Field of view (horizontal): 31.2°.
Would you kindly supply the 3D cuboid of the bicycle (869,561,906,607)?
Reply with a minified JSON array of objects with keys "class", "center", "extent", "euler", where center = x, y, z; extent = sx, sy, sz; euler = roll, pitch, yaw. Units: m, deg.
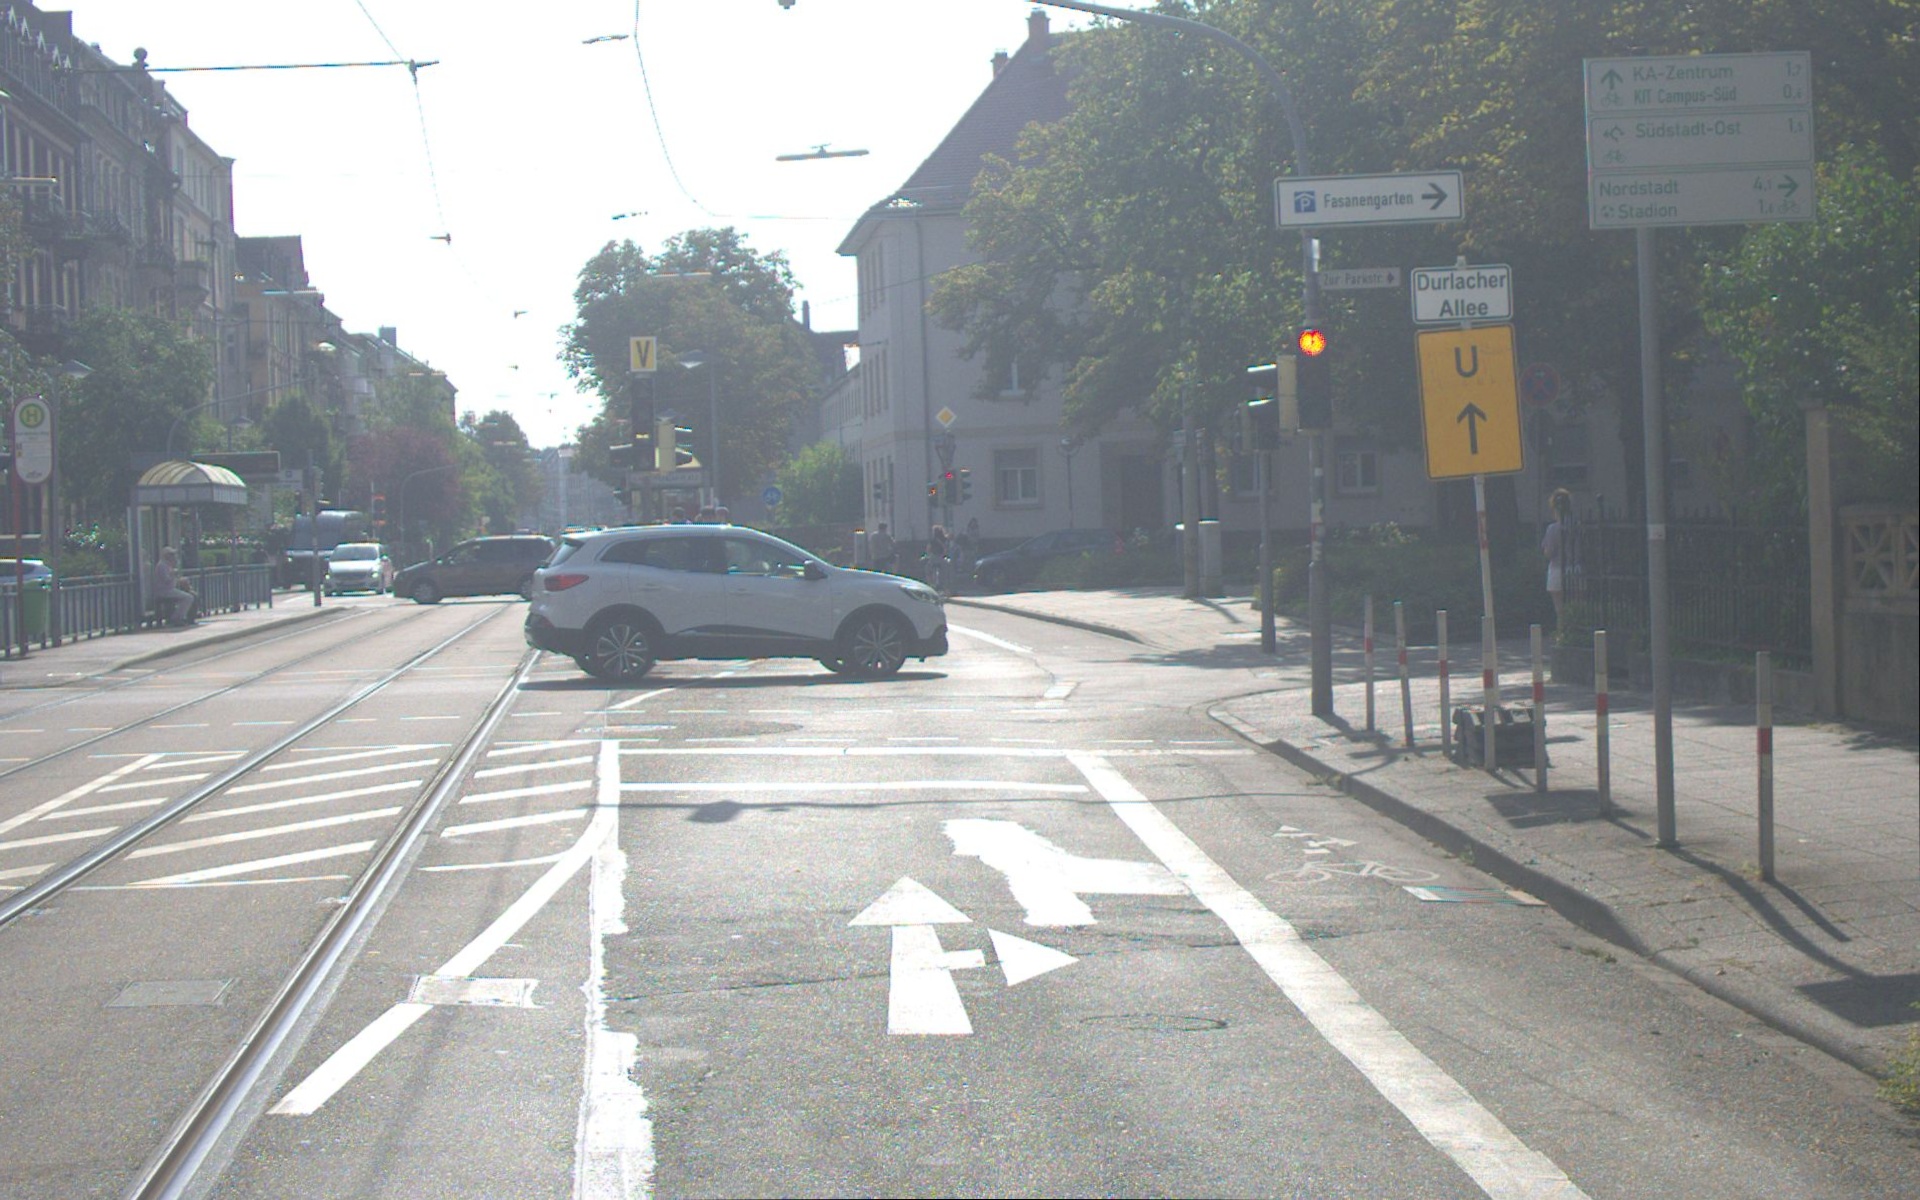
[{"class":"bicycle","center":[-1.597,-0.360,75.621],"extent":[0.629,0.974,1.771],"euler":[-2,1,-7]}]

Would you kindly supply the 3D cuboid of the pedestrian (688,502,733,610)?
[{"class":"pedestrian","center":[-4.139,-0.725,56.982],"extent":[0.708,1.753,0.534],"euler":[1,3,-5]}]

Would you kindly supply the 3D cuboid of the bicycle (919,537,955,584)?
[{"class":"bicycle","center":[-0.510,-0.866,75.053],"extent":[0.558,0.974,1.857],"euler":[-2,1,-7]}]

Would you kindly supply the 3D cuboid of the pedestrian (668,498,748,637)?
[{"class":"pedestrian","center":[-3.213,-0.426,43.849],"extent":[0.701,1.719,0.747],"euler":[3,4,28]}]

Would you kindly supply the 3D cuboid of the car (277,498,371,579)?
[{"class":"car","center":[-21.914,-2.141,118.677],"extent":[2.347,2.652,5.105],"euler":[-2,1,-1]}]

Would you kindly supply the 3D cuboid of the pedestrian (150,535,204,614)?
[{"class":"pedestrian","center":[-13.607,-0.446,59.733],"extent":[0.827,1.354,0.776],"euler":[-2,1,-9]}]

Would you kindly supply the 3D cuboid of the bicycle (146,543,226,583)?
[{"class":"bicycle","center":[-19.311,-0.925,85.805],"extent":[1.850,0.954,0.548],"euler":[-2,1,-3]}]

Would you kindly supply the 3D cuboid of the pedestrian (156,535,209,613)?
[{"class":"pedestrian","center":[-13.717,-0.464,60.704],"extent":[0.827,1.354,0.776],"euler":[-2,1,-9]}]

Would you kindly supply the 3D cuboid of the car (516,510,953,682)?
[{"class":"car","center":[-2.411,-0.071,36.238],"extent":[4.316,1.625,2.001],"euler":[-2,1,-12]}]

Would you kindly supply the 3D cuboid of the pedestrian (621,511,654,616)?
[{"class":"pedestrian","center":[-5.528,-0.631,58.923],"extent":[0.532,1.753,0.545],"euler":[1,3,-4]}]

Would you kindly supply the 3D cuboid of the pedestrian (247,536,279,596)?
[{"class":"pedestrian","center":[-20.490,-0.994,101.068],"extent":[0.750,1.725,0.772],"euler":[-2,1,-3]}]

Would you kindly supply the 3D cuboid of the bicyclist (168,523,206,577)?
[{"class":"bicyclist","center":[-19.290,-1.257,85.797],"extent":[0.819,1.323,0.548],"euler":[-2,1,-3]}]

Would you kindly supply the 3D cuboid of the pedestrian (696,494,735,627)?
[{"class":"pedestrian","center":[-3.425,-0.560,48.110],"extent":[0.504,1.827,0.534],"euler":[1,3,-5]}]

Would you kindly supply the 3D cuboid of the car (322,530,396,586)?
[{"class":"car","center":[-18.231,-1.291,104.446],"extent":[1.801,1.648,3.643],"euler":[-2,1,-4]}]

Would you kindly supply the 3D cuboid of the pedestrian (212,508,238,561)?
[{"class":"pedestrian","center":[-24.366,-2.166,113.937],"extent":[0.749,1.725,0.772],"euler":[-2,1,-14]}]

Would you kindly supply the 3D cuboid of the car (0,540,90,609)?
[{"class":"car","center":[-23.125,-0.586,81.864],"extent":[4.321,1.564,2.000],"euler":[-2,1,-26]}]

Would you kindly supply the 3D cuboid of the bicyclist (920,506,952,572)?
[{"class":"bicyclist","center":[-0.531,-1.337,75.056],"extent":[0.558,1.412,0.872],"euler":[-2,1,-7]}]

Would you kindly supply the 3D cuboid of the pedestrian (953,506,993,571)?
[{"class":"pedestrian","center":[0.358,-1.675,93.760],"extent":[0.892,1.734,0.775],"euler":[-1,1,16]}]

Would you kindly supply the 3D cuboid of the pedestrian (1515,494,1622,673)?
[{"class":"pedestrian","center":[5.990,-0.168,33.870],"extent":[0.749,1.725,0.772],"euler":[-2,1,-14]}]

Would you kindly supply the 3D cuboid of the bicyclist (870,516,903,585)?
[{"class":"bicyclist","center":[-1.612,-1.094,75.602],"extent":[0.629,1.502,0.679],"euler":[-2,1,-7]}]

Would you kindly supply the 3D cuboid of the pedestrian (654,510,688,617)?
[{"class":"pedestrian","center":[-4.843,-0.609,57.553],"extent":[0.543,1.753,0.534],"euler":[1,3,-5]}]

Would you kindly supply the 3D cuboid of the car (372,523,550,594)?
[{"class":"car","center":[-12.566,-1.062,86.801],"extent":[4.321,1.669,2.000],"euler":[-2,1,-5]}]
